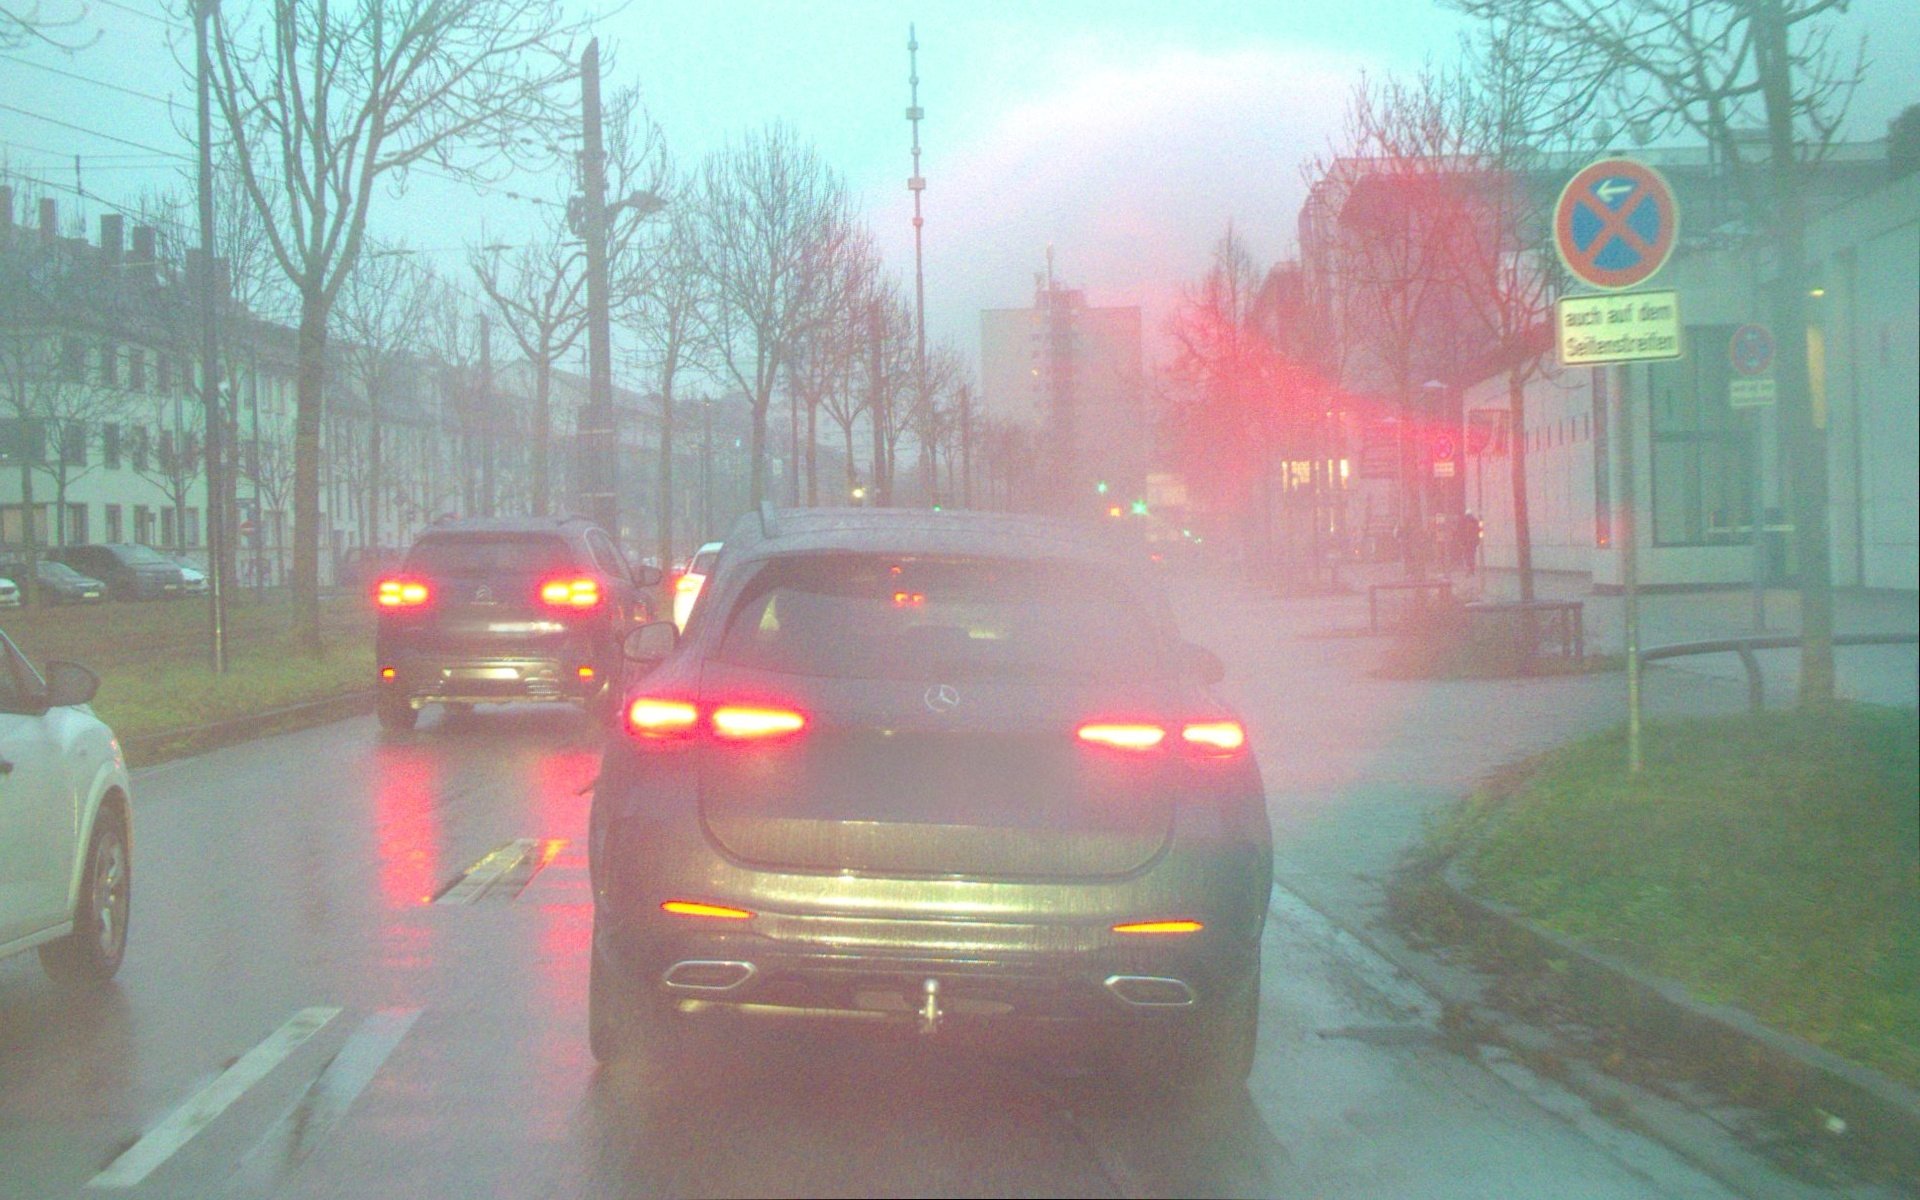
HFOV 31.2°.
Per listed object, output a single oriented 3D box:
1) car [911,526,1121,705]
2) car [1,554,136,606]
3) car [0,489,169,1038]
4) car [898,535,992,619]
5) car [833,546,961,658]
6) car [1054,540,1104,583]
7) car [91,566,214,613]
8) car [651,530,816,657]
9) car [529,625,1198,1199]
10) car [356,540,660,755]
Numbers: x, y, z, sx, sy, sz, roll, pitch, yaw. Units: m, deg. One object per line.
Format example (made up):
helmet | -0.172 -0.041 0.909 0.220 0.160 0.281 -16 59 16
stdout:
car | 0.651 0.127 36.119 1.994 1.738 4.000 -1 1 4
car | -24.875 -0.567 95.900 3.552 1.349 1.778 -1 1 37
car | -3.626 0.475 10.130 1.672 1.594 4.054 0 1 0
car | -0.347 -0.567 85.424 1.994 2.007 3.999 1 0 4
car | -1.147 0.035 64.644 1.994 2.007 3.999 1 0 4
car | 4.924 -1.606 141.966 1.994 1.723 4.000 -1 1 3
car | -24.855 -0.308 105.746 3.552 1.349 1.778 -1 1 37
car | -2.946 -0.108 45.432 1.672 1.594 4.053 0 1 3
car | -0.123 0.918 10.602 1.672 1.594 4.053 0 1 3
car | -3.536 0.329 27.562 1.672 1.594 4.053 0 1 3
